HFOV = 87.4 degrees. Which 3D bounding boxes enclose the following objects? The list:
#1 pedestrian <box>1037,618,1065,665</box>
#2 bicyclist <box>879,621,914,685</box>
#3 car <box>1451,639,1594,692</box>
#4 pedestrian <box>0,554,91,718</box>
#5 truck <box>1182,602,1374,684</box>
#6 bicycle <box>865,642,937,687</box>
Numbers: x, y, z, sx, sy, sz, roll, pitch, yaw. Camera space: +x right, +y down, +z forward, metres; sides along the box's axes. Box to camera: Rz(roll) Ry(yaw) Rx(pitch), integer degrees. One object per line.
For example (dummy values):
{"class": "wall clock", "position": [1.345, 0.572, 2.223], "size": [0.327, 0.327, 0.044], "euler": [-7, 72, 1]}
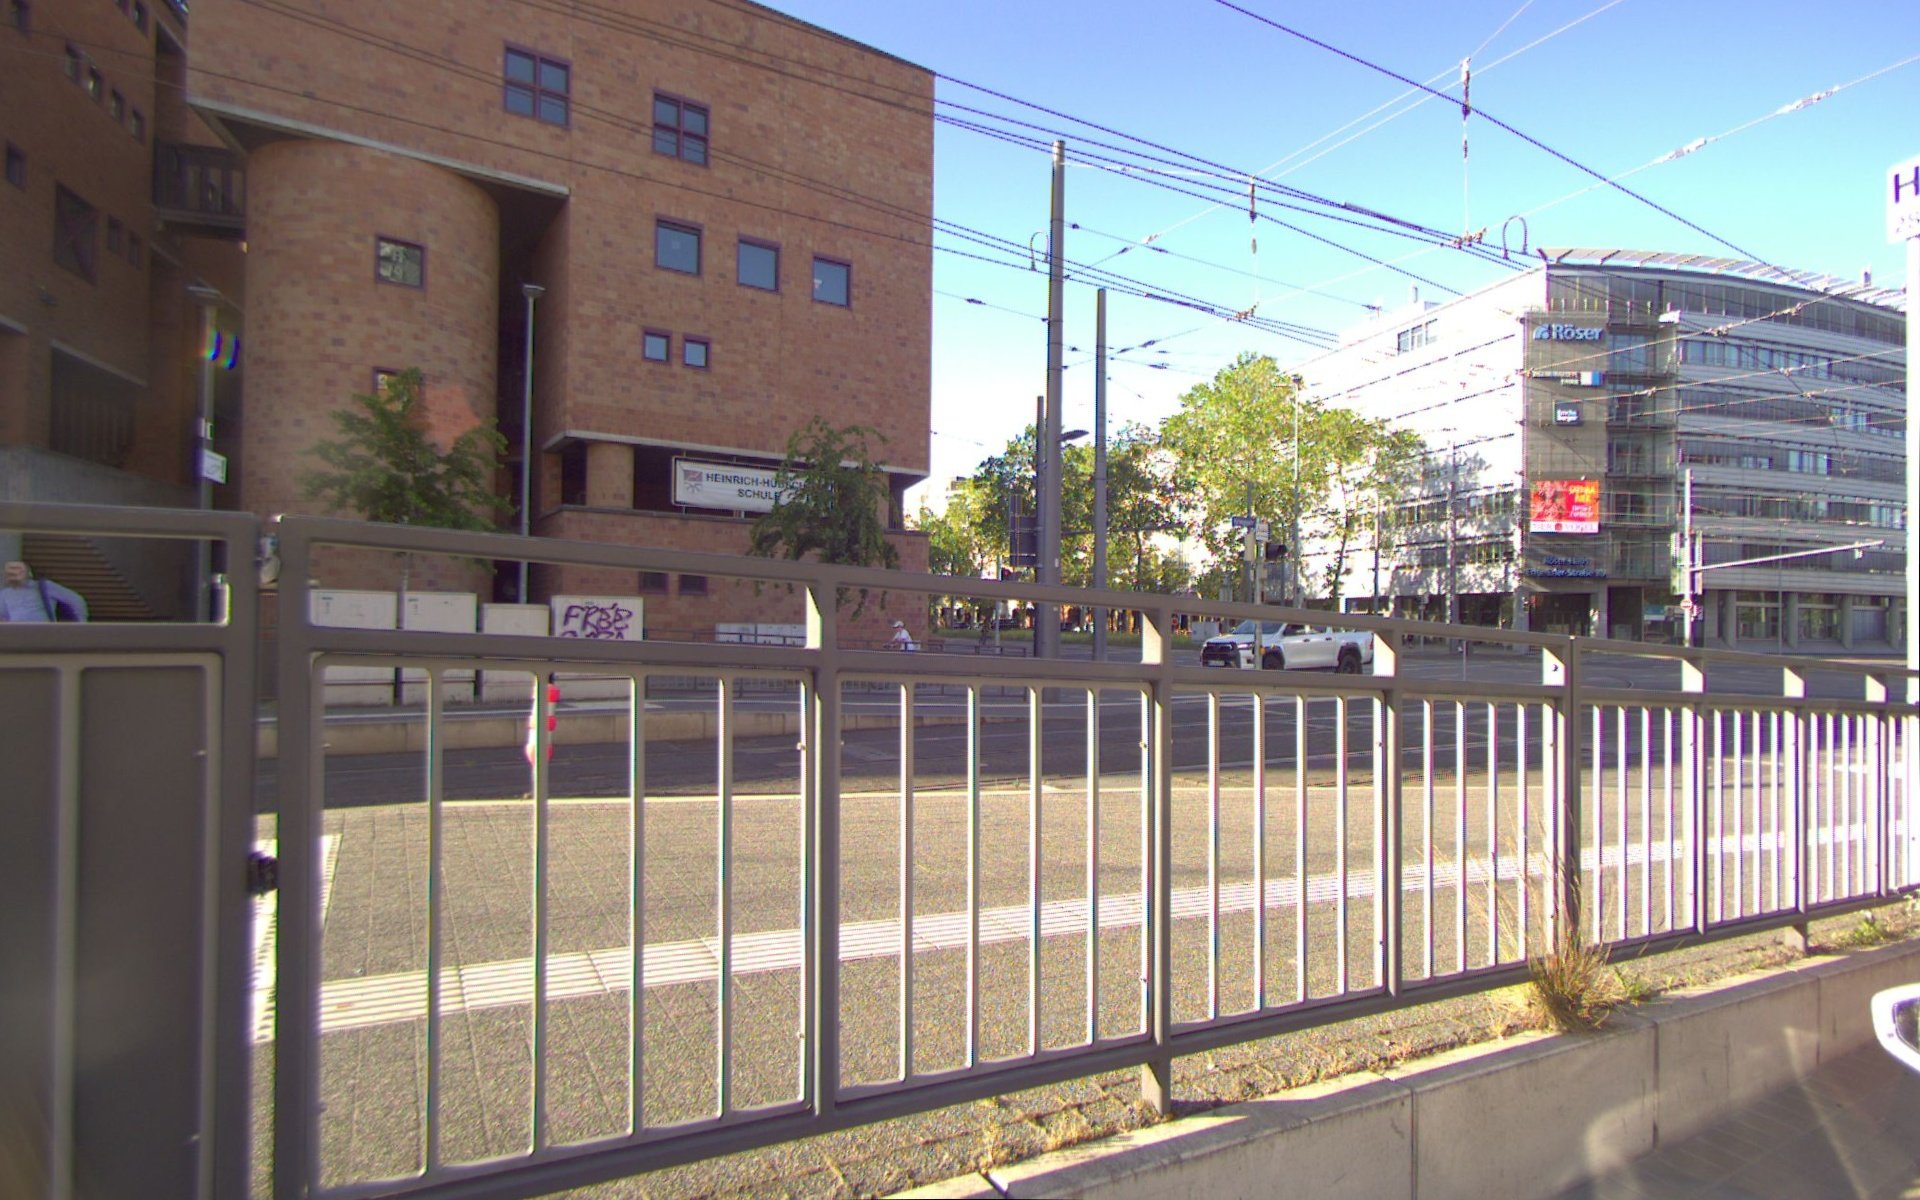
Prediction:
{"class": "pedestrian", "position": [3.377, 1.534, 37.261], "size": [0.785, 1.714, 0.587], "euler": [2, 0, -29]}
{"class": "bicyclist", "position": [-1.580, 1.316, 25.071], "size": [0.642, 1.554, 0.584], "euler": [2, 0, -30]}
{"class": "car", "position": [13.647, 1.560, 24.433], "size": [2.841, 1.077, 1.238], "euler": [2, 0, 40]}
{"class": "pedestrian", "position": [-9.652, 0.369, 10.544], "size": [0.679, 1.656, 0.662], "euler": [2, 0, -34]}
{"class": "truck", "position": [8.220, 1.168, 25.823], "size": [5.102, 1.904, 1.982], "euler": [3, -4, -34]}
{"class": "bicycle", "position": [-1.461, 1.614, 25.146], "size": [1.793, 1.104, 0.458], "euler": [2, -3, -30]}
